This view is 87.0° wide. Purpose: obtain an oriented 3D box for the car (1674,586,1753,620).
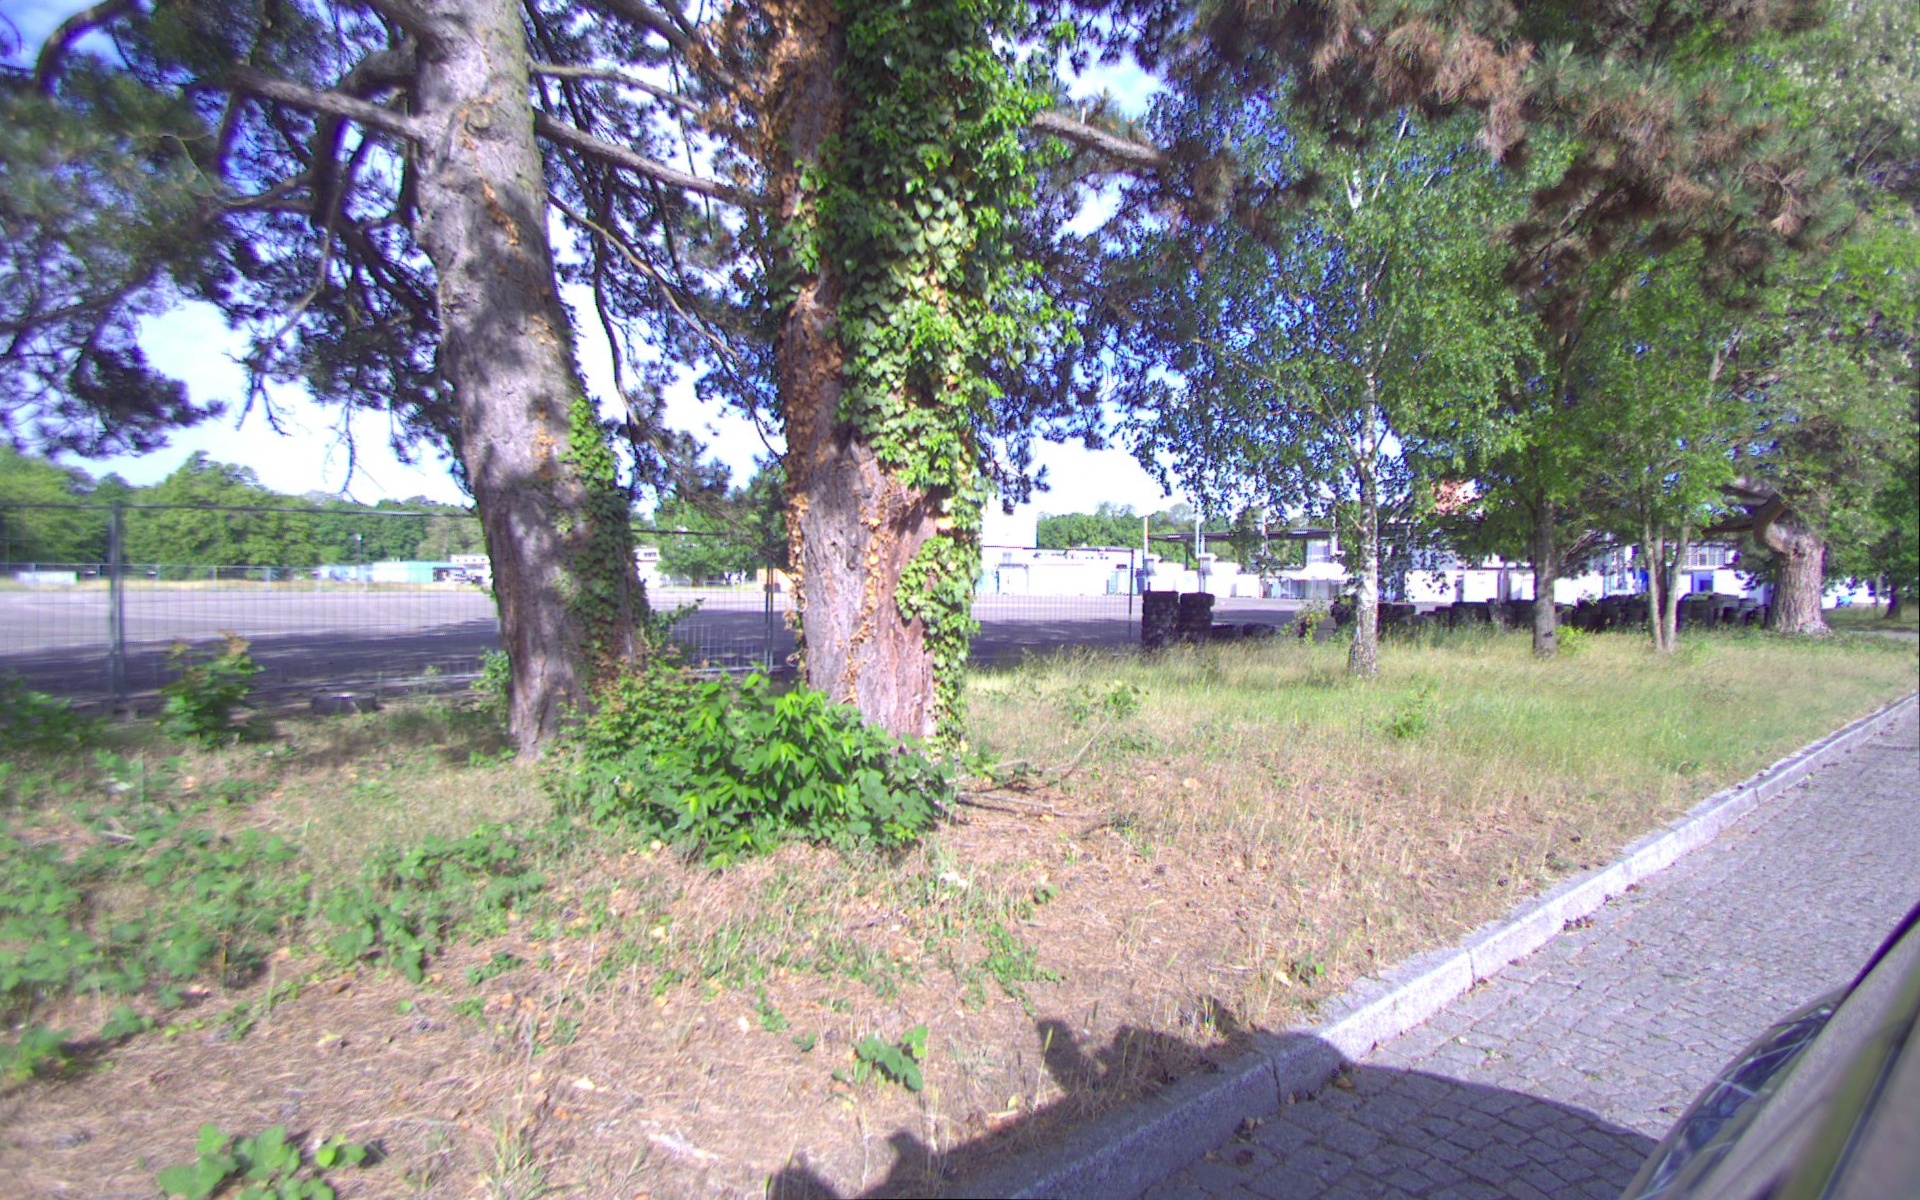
[{"bbox_3d":[35.022,0.112,47.032,3.924,1.467,1.848,0,1,-36],"label":"car"}]
